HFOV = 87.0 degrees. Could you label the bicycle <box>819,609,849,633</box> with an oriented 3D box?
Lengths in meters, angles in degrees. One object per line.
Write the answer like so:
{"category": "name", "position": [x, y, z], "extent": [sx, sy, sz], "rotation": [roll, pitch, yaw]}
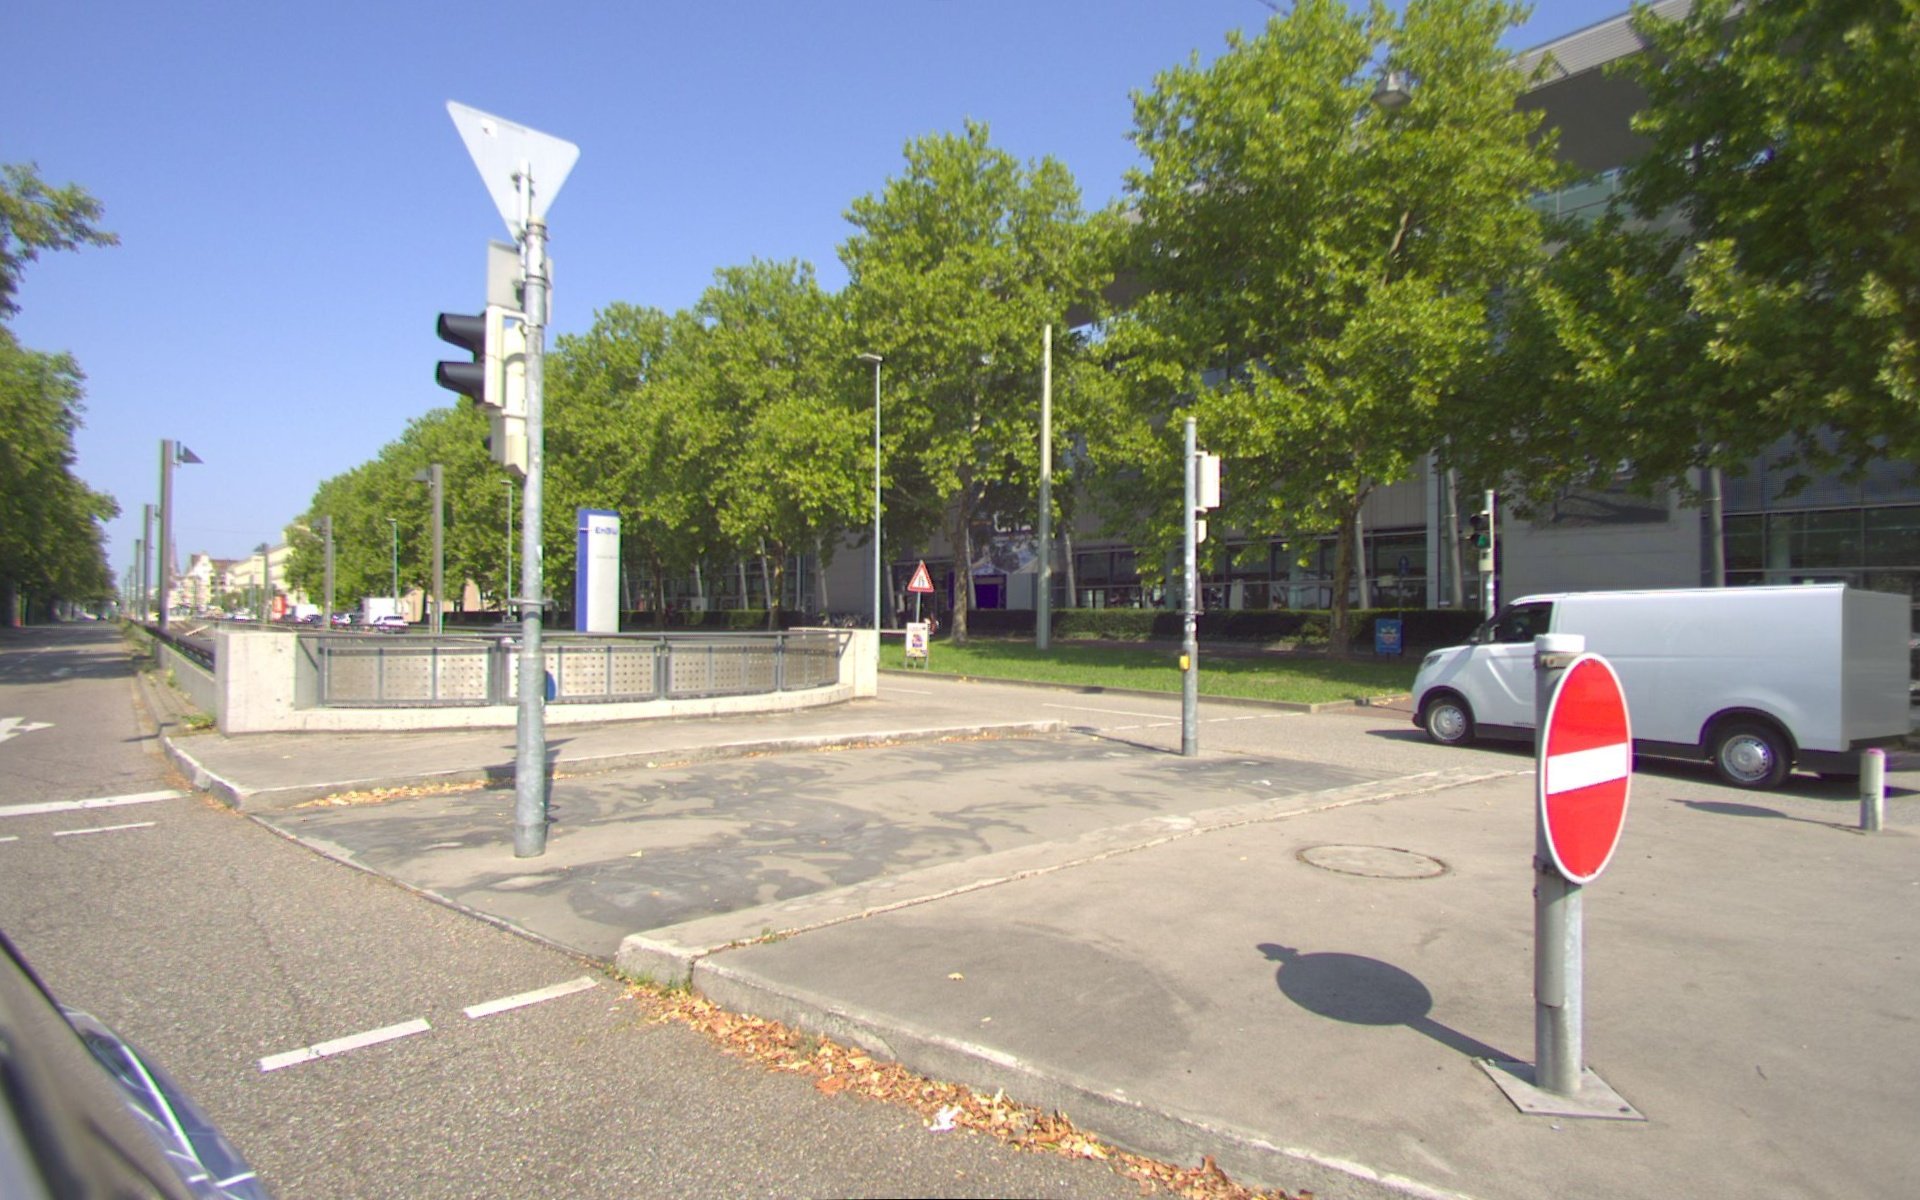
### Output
{"category": "bicycle", "position": [-8.838, 1.451, 70.953], "extent": [0.600, 1.566, 2.139], "rotation": [-1, 1, 42]}

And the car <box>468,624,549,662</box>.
{"category": "car", "position": [-17.126, 1.590, 38.292], "extent": [1.636, 1.230, 3.899], "rotation": [-2, 1, -43]}

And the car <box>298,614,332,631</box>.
{"category": "car", "position": [-58.675, 2.035, 92.002], "extent": [1.969, 1.464, 4.006], "rotation": [-2, 1, -41]}

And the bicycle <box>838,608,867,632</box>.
{"category": "bicycle", "position": [-7.391, 1.392, 69.630], "extent": [0.600, 1.566, 2.139], "rotation": [-1, 1, 42]}

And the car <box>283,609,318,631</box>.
{"category": "car", "position": [-66.119, 2.003, 101.405], "extent": [2.257, 2.095, 4.662], "rotation": [-2, 1, -41]}

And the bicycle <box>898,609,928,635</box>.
{"category": "bicycle", "position": [-3.084, 1.430, 66.388], "extent": [0.600, 1.566, 2.139], "rotation": [-1, 1, 42]}

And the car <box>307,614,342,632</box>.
{"category": "car", "position": [-55.715, 1.992, 88.672], "extent": [1.969, 1.464, 4.006], "rotation": [-2, 1, -41]}

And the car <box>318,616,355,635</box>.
{"category": "car", "position": [-52.150, 2.079, 84.580], "extent": [1.969, 1.464, 4.006], "rotation": [-2, 1, -41]}

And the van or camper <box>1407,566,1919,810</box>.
{"category": "van or camper", "position": [7.416, 0.751, 10.779], "extent": [1.815, 1.962, 4.964], "rotation": [2, -1, -22]}

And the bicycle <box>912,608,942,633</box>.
{"category": "bicycle", "position": [-2.148, 1.310, 65.589], "extent": [0.600, 1.566, 2.139], "rotation": [-1, 1, 42]}

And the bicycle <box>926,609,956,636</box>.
{"category": "bicycle", "position": [-1.196, 1.419, 64.734], "extent": [0.600, 1.652, 2.139], "rotation": [-1, 1, 42]}

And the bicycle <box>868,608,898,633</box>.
{"category": "bicycle", "position": [-5.160, 1.367, 67.924], "extent": [0.600, 1.566, 2.139], "rotation": [-1, 1, 42]}

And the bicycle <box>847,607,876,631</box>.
{"category": "bicycle", "position": [-6.714, 1.278, 69.025], "extent": [0.600, 1.566, 2.139], "rotation": [-1, 1, 42]}

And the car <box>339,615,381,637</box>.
{"category": "car", "position": [-44.749, 1.903, 75.467], "extent": [1.969, 1.464, 4.006], "rotation": [-2, 1, -41]}

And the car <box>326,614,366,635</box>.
{"category": "car", "position": [-48.191, 1.908, 79.397], "extent": [1.969, 1.464, 4.006], "rotation": [-2, 1, -41]}

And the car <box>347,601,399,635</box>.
{"category": "car", "position": [-41.616, 1.246, 71.703], "extent": [2.257, 2.249, 4.662], "rotation": [-2, 1, -41]}

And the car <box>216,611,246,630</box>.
{"category": "car", "position": [-79.052, 2.194, 109.736], "extent": [4.002, 2.029, 1.971], "rotation": [-1, 1, 45]}

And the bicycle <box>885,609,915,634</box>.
{"category": "bicycle", "position": [-3.946, 1.408, 66.957], "extent": [0.600, 1.566, 2.139], "rotation": [-1, 1, 42]}

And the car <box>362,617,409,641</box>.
{"category": "car", "position": [-38.401, 1.902, 67.609], "extent": [1.969, 1.464, 4.006], "rotation": [-2, 1, -41]}

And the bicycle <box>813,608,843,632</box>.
{"category": "bicycle", "position": [-9.304, 1.389, 71.420], "extent": [0.600, 1.566, 2.139], "rotation": [-1, 1, 42]}

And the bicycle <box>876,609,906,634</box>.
{"category": "bicycle", "position": [-4.617, 1.443, 67.460], "extent": [0.600, 1.566, 2.139], "rotation": [-1, 1, 42]}

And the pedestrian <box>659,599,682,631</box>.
{"category": "pedestrian", "position": [-18.724, 0.963, 65.491], "extent": [0.934, 2.029, 1.351], "rotation": [-2, 1, -38]}

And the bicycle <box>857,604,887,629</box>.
{"category": "bicycle", "position": [-5.957, 1.124, 68.625], "extent": [0.600, 1.566, 2.139], "rotation": [-1, 1, 42]}

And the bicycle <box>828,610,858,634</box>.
{"category": "bicycle", "position": [-8.135, 1.489, 70.333], "extent": [0.600, 1.566, 2.139], "rotation": [-1, 1, 42]}

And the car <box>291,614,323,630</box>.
{"category": "car", "position": [-62.552, 2.085, 96.972], "extent": [1.969, 1.464, 4.006], "rotation": [-2, 1, -41]}
